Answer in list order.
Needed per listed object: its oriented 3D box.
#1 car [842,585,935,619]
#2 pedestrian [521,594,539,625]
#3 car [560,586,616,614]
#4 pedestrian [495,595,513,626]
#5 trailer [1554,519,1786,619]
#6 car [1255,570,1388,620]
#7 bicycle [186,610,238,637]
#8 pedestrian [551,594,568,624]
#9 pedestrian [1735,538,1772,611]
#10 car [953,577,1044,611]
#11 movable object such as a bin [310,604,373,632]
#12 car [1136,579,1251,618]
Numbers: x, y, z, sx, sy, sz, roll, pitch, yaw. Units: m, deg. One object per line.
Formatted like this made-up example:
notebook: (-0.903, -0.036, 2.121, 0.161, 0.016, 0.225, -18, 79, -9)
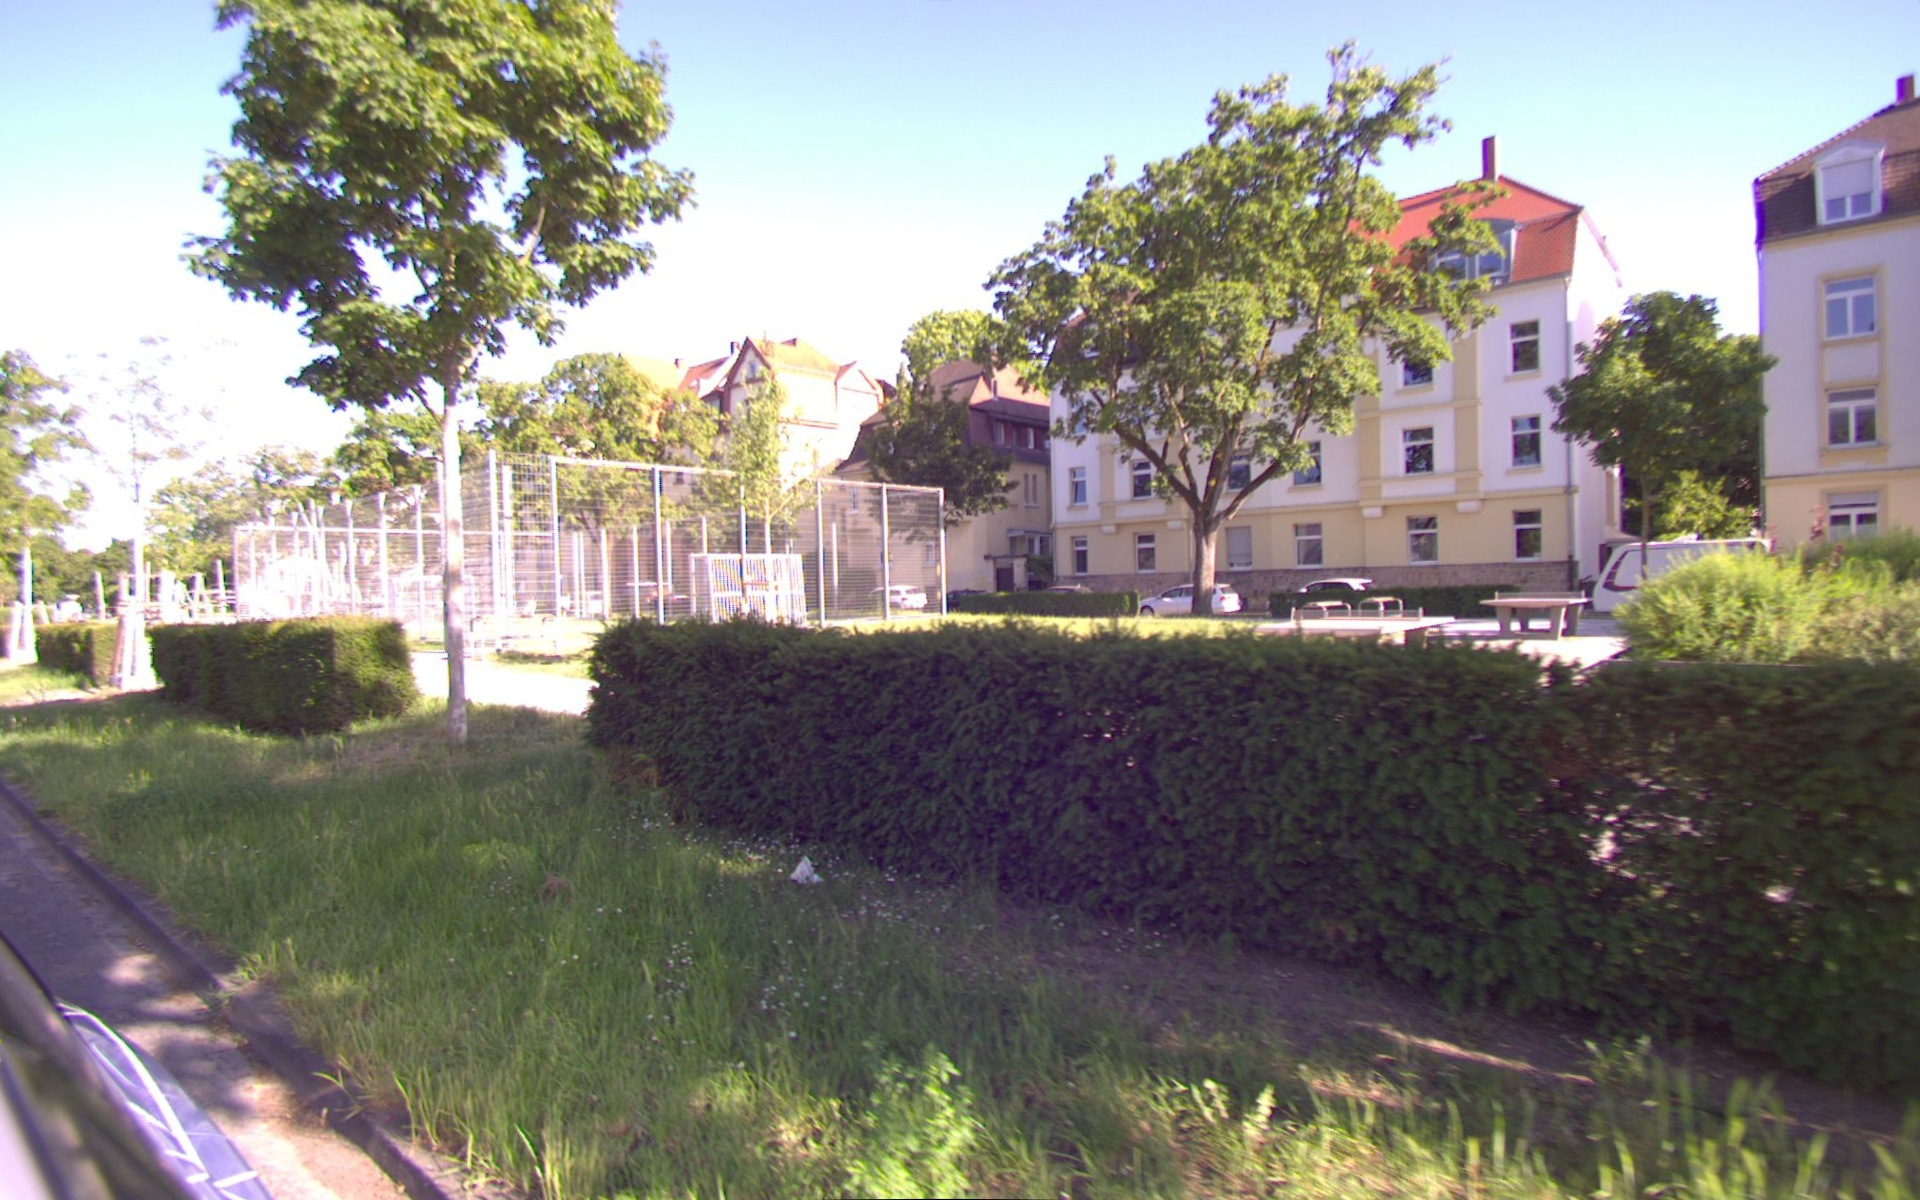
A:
car: (-3.860, 0.127, 54.012, 5.180, 1.664, 1.862, -1, 1, 41)
pedestrian: (-18.885, 0.416, 44.443, 0.639, 1.328, 0.652, -2, 1, -20)
car: (-27.722, 0.021, 75.407, 4.833, 1.997, 1.776, -1, 1, 41)
pedestrian: (-19.837, 0.464, 44.039, 0.639, 1.328, 0.652, -2, 1, -20)
trailer: (22.366, -0.888, 32.039, 5.798, 2.891, 2.319, -1, 1, 40)
car: (13.875, -0.171, 39.012, 4.486, 1.790, 1.776, -1, 1, 41)
bicycle: (-33.541, 1.065, 45.391, 0.499, 1.116, 1.777, -1, 1, 39)
pedestrian: (-17.754, 0.396, 44.847, 0.639, 1.328, 0.652, -2, 1, -20)
pedestrian: (18.606, -0.594, 23.725, 0.650, 1.674, 0.641, -1, 0, 41)
car: (1.833, -0.292, 49.245, 4.229, 1.521, 1.776, -1, 1, 41)
movable object such as a bin: (-29.296, 0.841, 47.971, 1.054, 1.251, 2.309, -1, 0, 37)
car: (9.787, -0.044, 42.603, 4.345, 1.521, 1.776, -1, 1, 41)
